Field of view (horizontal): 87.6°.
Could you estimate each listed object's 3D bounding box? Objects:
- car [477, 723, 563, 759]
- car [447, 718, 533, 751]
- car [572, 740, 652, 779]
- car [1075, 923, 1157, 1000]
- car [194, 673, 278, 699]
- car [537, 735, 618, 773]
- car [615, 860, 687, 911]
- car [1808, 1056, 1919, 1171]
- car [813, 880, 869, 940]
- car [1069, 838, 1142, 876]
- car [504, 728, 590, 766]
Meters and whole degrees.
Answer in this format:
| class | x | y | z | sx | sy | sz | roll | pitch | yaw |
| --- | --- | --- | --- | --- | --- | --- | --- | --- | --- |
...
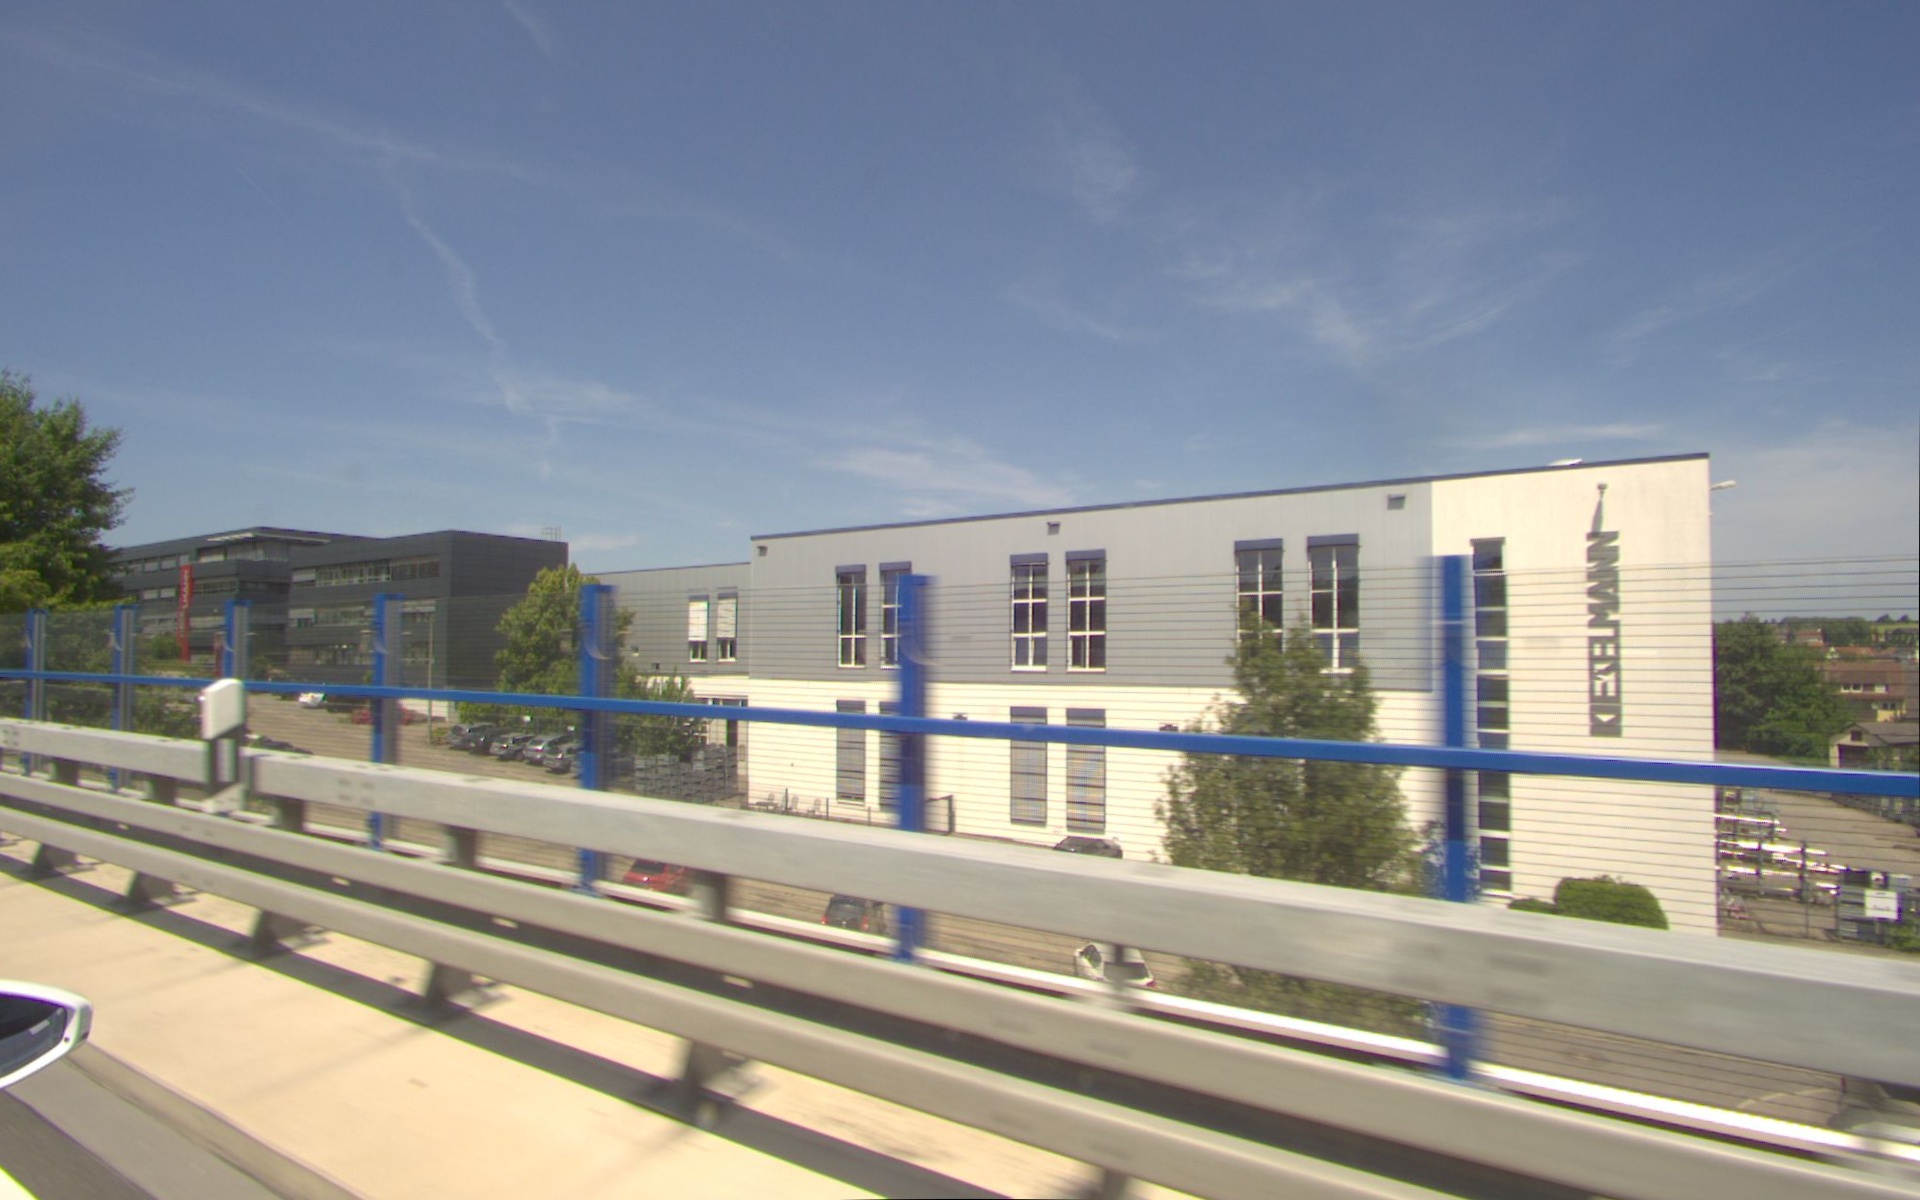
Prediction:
| class | x | y | z | sx | sy | sz | roll | pitch | yaw |
| --- | --- | --- | --- | --- | --- | --- | --- | --- | --- |
| car | -26.773 | 8.574 | 61.107 | 1.793 | 1.593 | 4.566 | 3 | 0 | 31 |
| car | -29.284 | 8.357 | 62.522 | 1.793 | 1.592 | 4.569 | 3 | -2 | 31 |
| car | -19.884 | 9.066 | 57.324 | 1.883 | 1.593 | 4.032 | 3 | 0 | 31 |
| car | 4.148 | 9.683 | 27.011 | 1.367 | 1.160 | 3.690 | 4 | -8 | -3 |
| car | -52.773 | 6.267 | 73.068 | 1.792 | 1.592 | 4.570 | 4 | -1 | 29 |
| car | -22.283 | 8.947 | 58.464 | 1.883 | 1.593 | 4.032 | 3 | 0 | 31 |
| car | -10.677 | 9.900 | 34.855 | 1.483 | 1.160 | 3.690 | 4 | -8 | -3 |
| car | 18.630 | 9.898 | 18.638 | 1.706 | 1.381 | 3.983 | 8 | -9 | -30 |
| car | -3.676 | 9.684 | 31.439 | 1.483 | 1.160 | 3.690 | 4 | -8 | -3 |
| car | 5.998 | 10.507 | 41.056 | 1.491 | 1.160 | 3.669 | -2 | -10 | 34 |
| car | -24.608 | 8.743 | 59.842 | 1.793 | 1.593 | 4.566 | 3 | 0 | 31 |
